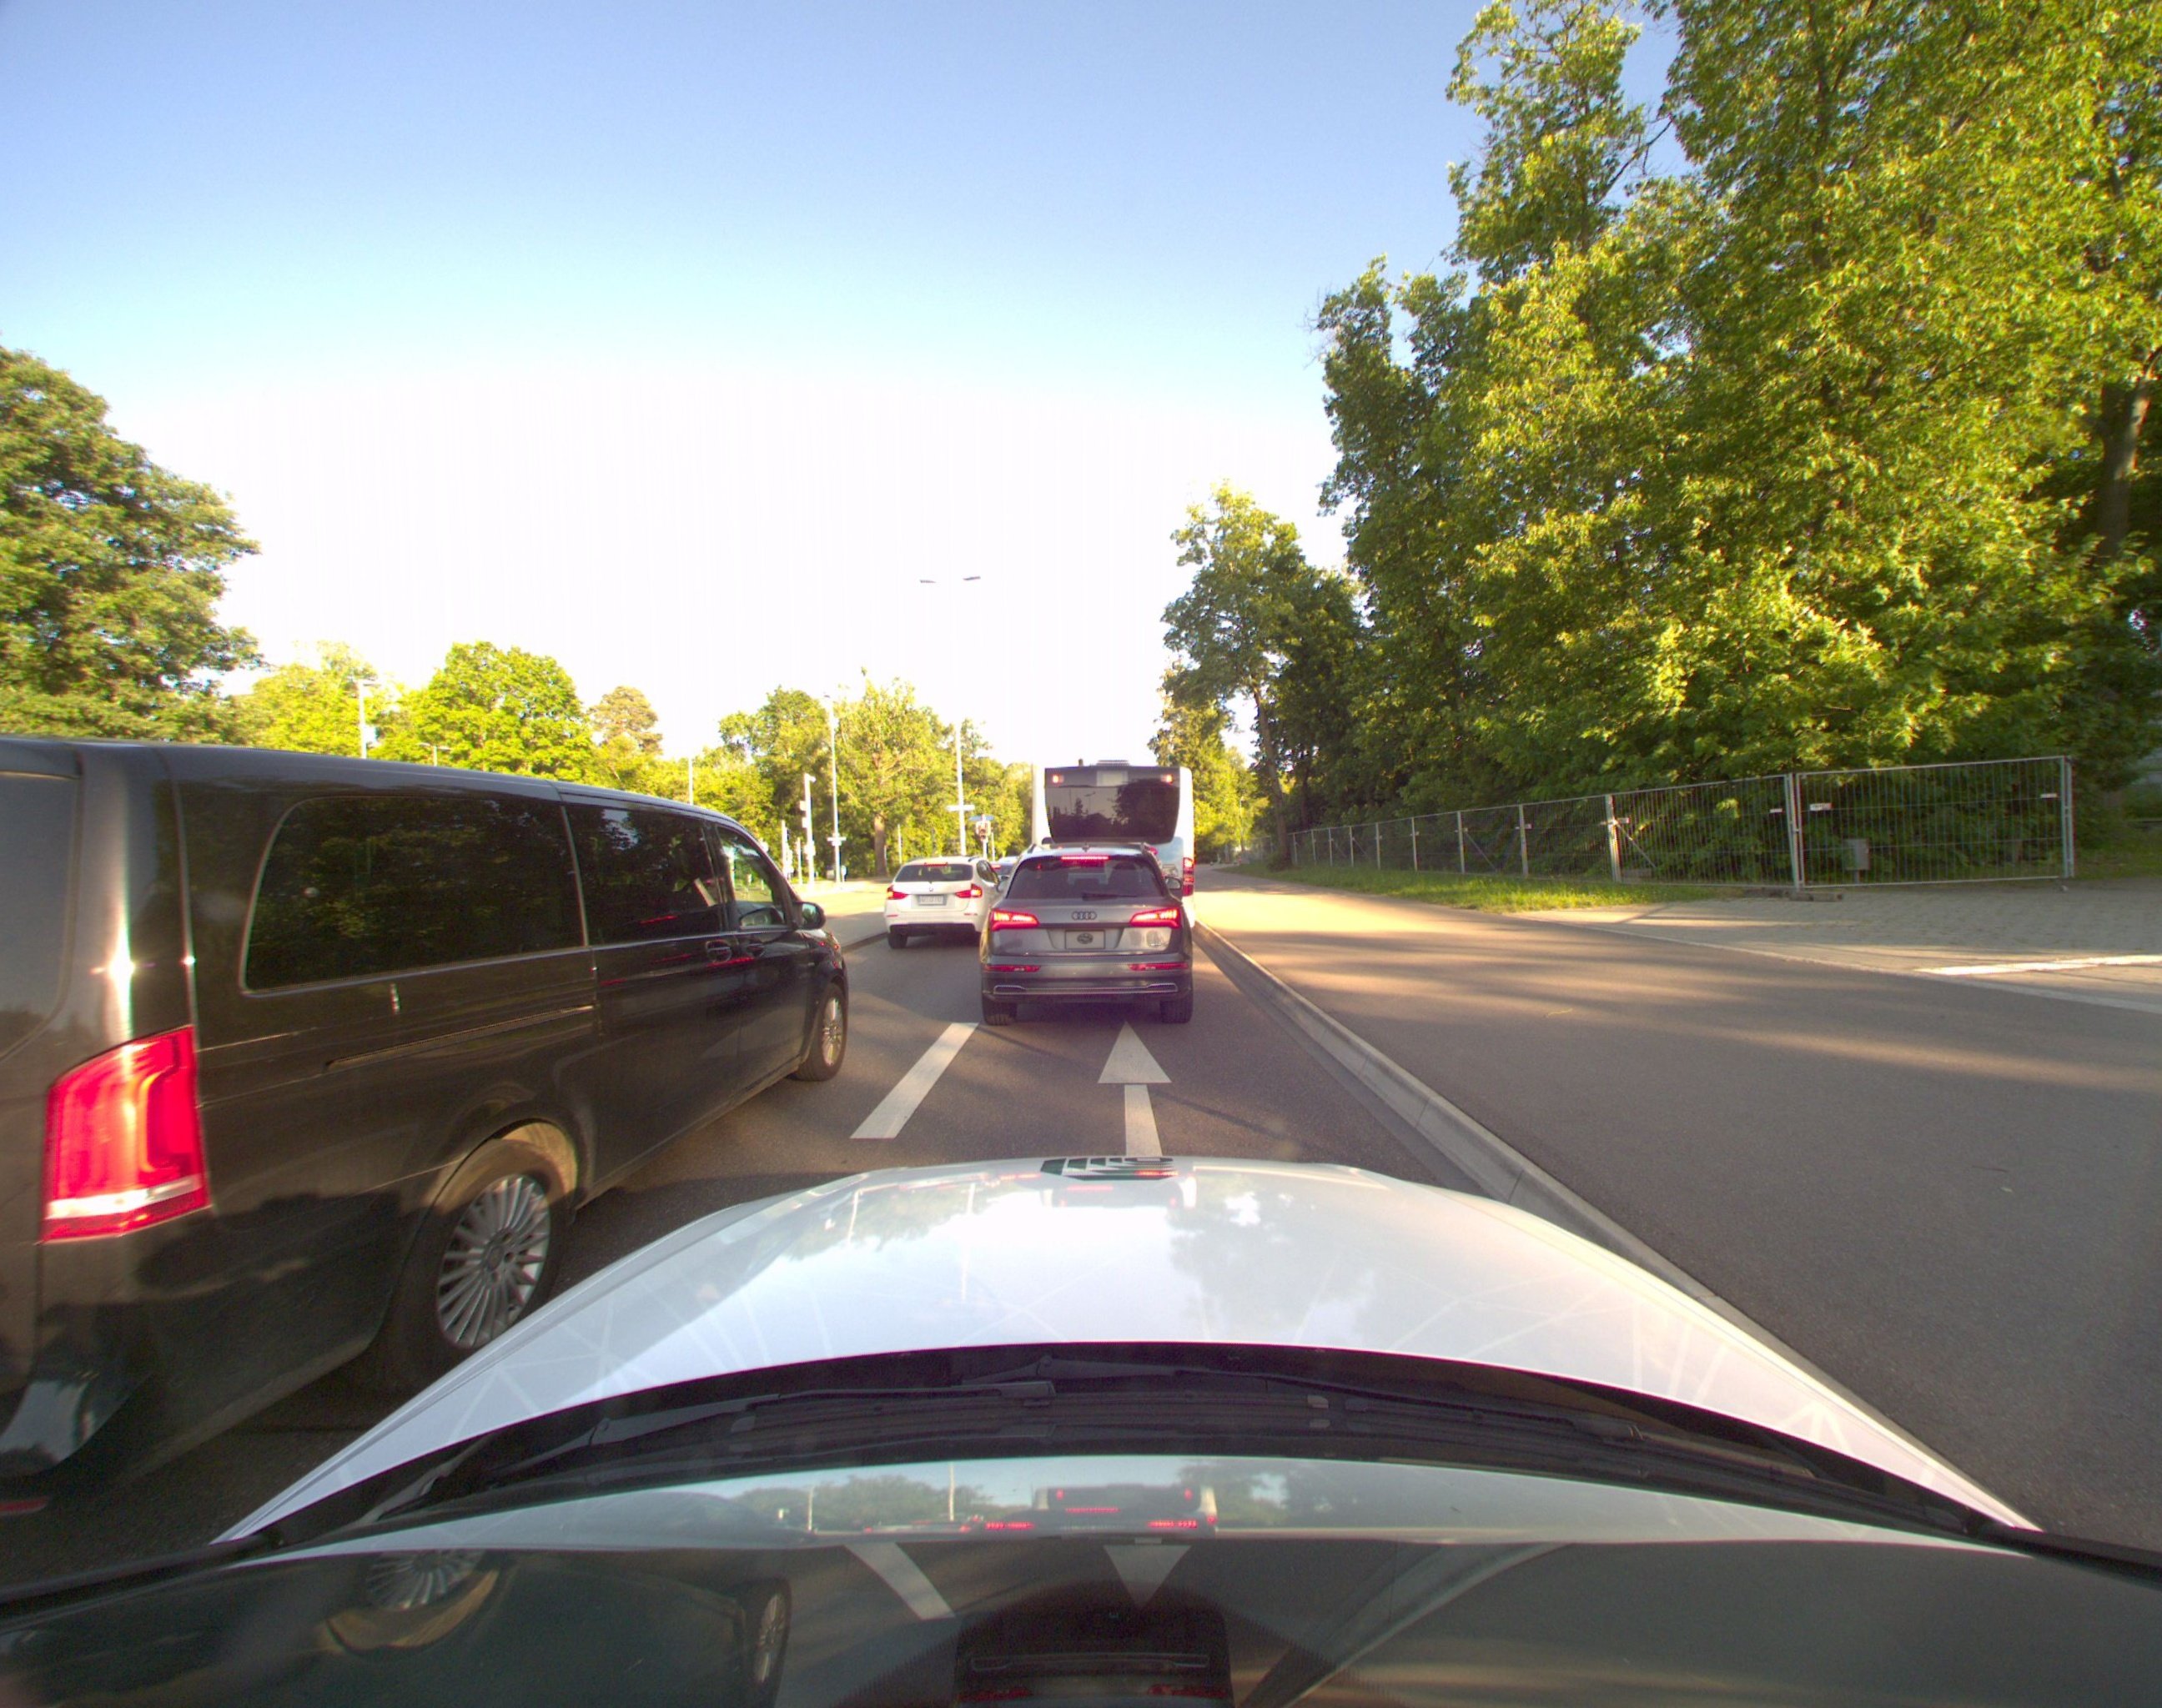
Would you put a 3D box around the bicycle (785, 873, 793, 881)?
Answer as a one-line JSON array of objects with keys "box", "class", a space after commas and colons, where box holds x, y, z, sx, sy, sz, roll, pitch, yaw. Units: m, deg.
[{"box": [-21.314, 1.694, 59.436, 0.266, 0.581, 0.838, 0, -1, -4], "class": "bicycle"}]

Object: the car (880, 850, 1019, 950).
[{"box": [-2.264, 0.769, 15.156, 1.712, 1.581, 4.435, 0, -1, 2], "class": "car"}]

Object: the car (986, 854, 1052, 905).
[{"box": [-2.033, 0.803, 27.826, 1.801, 1.572, 4.002, 0, 1, 2], "class": "car"}]

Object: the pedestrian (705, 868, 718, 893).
[{"box": [-22.988, 1.653, 50.662, 0.480, 1.562, 0.649, 0, -1, 1], "class": "pedestrian"}]

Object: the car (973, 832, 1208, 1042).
[{"box": [0.138, 0.641, 8.493, 1.861, 1.663, 4.002, 0, 1, 2], "class": "car"}]

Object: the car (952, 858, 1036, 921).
[{"box": [-2.189, 0.855, 21.527, 1.780, 1.444, 4.276, 0, 1, -1], "class": "car"}]

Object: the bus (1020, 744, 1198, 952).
[{"box": [0.577, -0.114, 15.270, 2.667, 3.142, 5.887, 0, 0, 3], "class": "bus"}]

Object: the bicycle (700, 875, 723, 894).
[{"box": [-22.963, 1.885, 50.655, 0.466, 1.178, 2.005, 0, -1, 2], "class": "bicycle"}]

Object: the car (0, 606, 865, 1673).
[{"box": [-2.651, 0.499, 3.850, 1.901, 1.856, 4.873, 0, 0, 1], "class": "car"}]

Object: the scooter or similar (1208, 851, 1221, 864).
[{"box": [12.803, 0.323, 77.903, 1.175, 1.174, 0.661, 0, 0, 13], "class": "scooter or similar"}]

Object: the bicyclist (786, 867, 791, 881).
[{"box": [-21.320, 1.449, 59.445, 0.272, 0.963, 0.240, 0, -1, -4], "class": "bicyclist"}]
